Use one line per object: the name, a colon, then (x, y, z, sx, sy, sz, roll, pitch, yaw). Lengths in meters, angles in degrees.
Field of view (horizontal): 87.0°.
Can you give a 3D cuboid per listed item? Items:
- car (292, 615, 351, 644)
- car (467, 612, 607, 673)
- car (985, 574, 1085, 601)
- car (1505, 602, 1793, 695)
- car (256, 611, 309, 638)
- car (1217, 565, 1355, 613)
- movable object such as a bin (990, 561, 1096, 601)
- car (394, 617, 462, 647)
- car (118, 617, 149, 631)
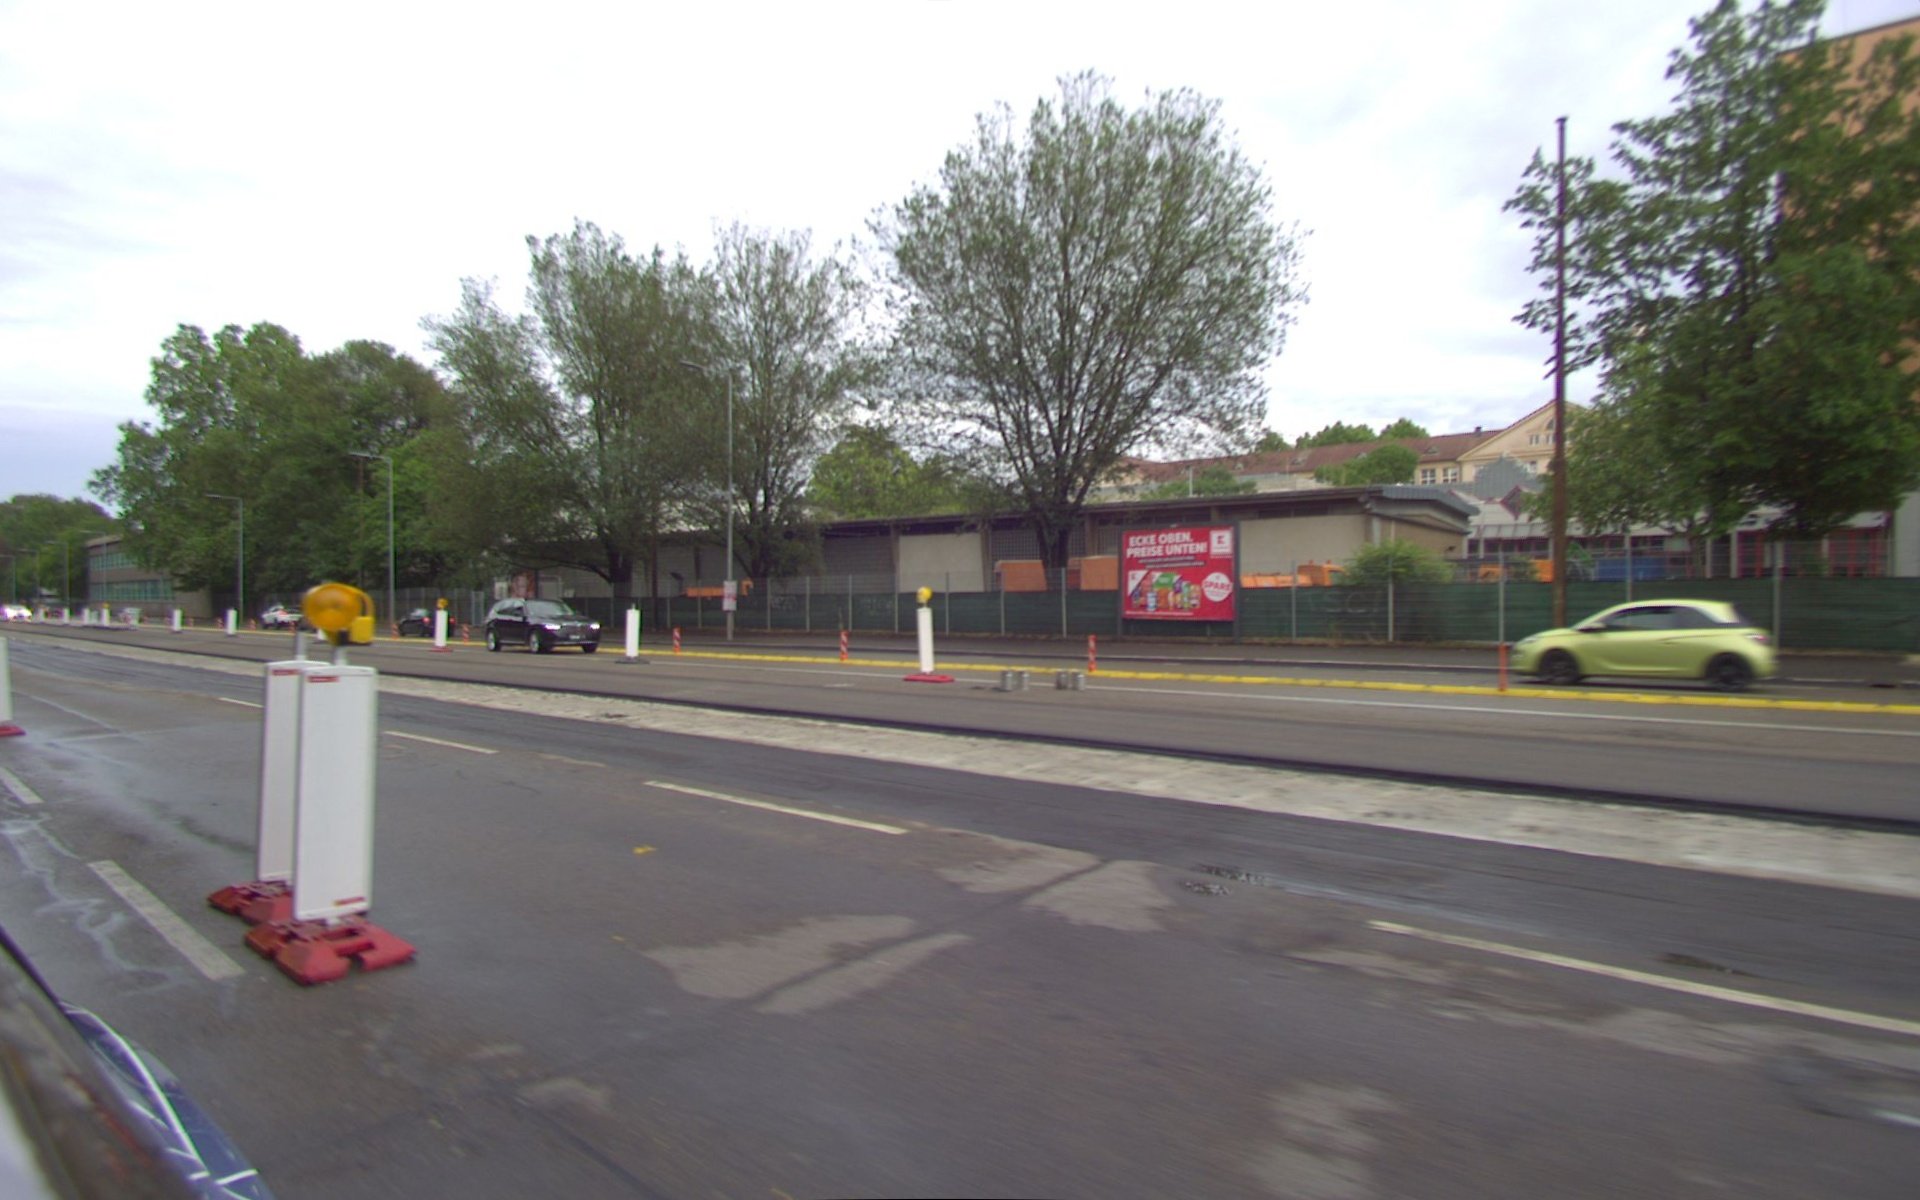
car: (-37.870, 1.744, 59.989, 4.363, 1.631, 1.839, -1, -3, 42)
car: (-12.900, 1.289, 30.716, 4.982, 1.719, 1.972, -2, -4, 42)
car: (3.149, -0.511, 42.912, 3.961, 1.070, 1.755, -1, 0, -6)
car: (11.332, 0.759, 16.780, 3.802, 1.379, 1.537, -1, -2, 41)
car: (-44.998, 1.635, 67.198, 4.363, 1.719, 1.839, -1, -3, 42)
car: (11.089, -0.354, 34.518, 3.957, 1.539, 2.004, -1, 0, -11)
movable object such as a bin: (3.294, -0.761, 40.764, 3.961, 1.539, 1.755, -1, -1, -6)
car: (-27.072, 1.622, 51.431, 3.731, 1.487, 1.839, -1, -3, 42)
car: (-82.105, 2.397, 100.513, 4.454, 1.325, 1.649, -1, -3, 42)
